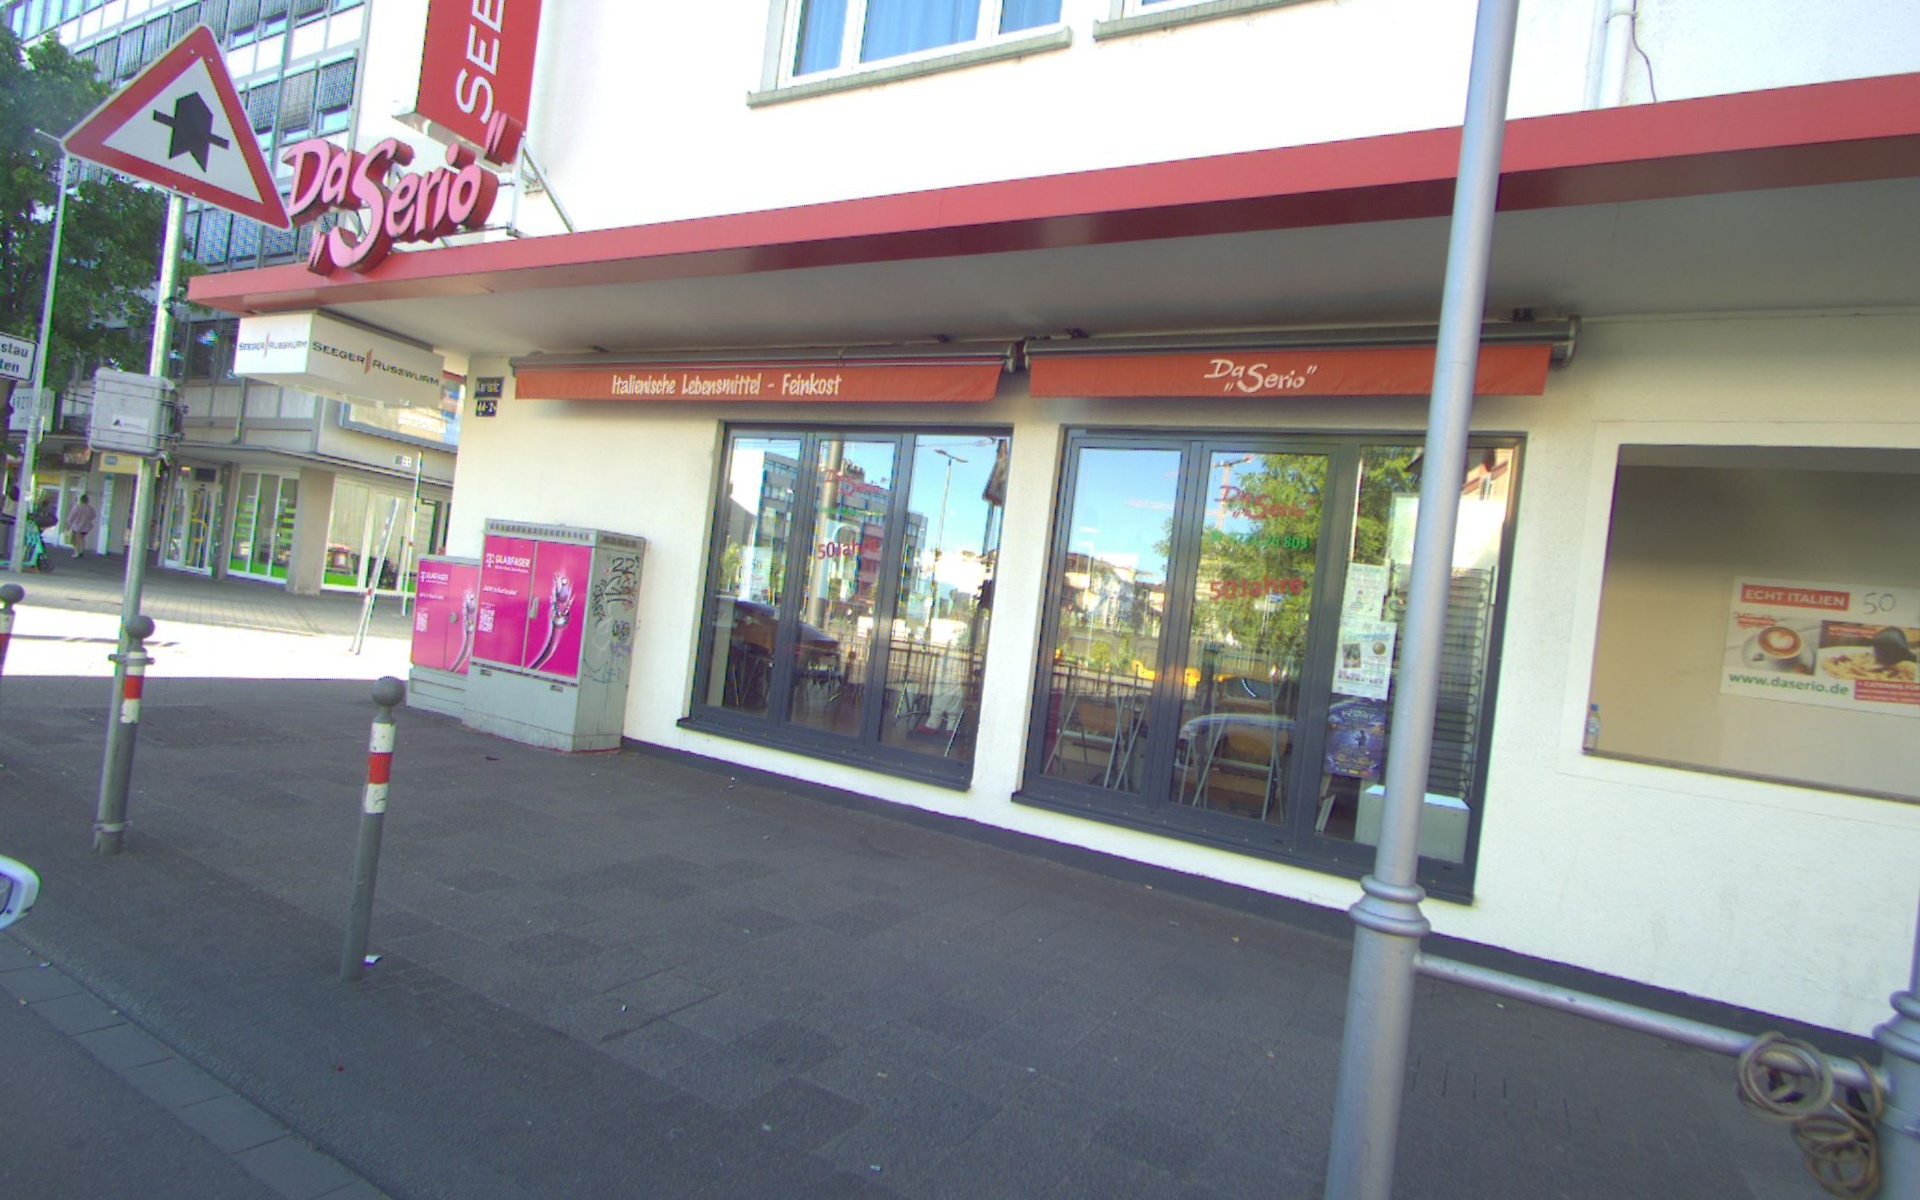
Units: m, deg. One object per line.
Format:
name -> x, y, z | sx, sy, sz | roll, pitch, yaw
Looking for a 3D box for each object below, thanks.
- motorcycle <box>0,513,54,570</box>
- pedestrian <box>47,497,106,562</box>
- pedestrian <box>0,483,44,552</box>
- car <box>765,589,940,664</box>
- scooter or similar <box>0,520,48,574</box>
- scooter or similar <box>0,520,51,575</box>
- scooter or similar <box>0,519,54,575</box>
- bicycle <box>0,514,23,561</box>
motorcycle -> -21.474, -1.368, 22.385 | 0.495, 1.142, 1.791 | 7, -2, 29
pedestrian -> -24.269, -1.924, 27.647 | 0.865, 1.621, 0.844 | 6, -1, 31
pedestrian -> -26.005, -2.277, 27.659 | 0.865, 1.727, 0.844 | 6, -1, 31
car -> -3.118, 0.813, 29.841 | 4.791, 1.450, 1.861 | 9, 1, -38
scooter or similar -> -20.003, -1.126, 21.281 | 0.157, 1.039, 0.964 | 7, -1, 34
scooter or similar -> -19.839, -1.119, 21.171 | 0.157, 1.051, 0.957 | 7, -1, 34
scooter or similar -> -19.677, -1.114, 21.061 | 0.157, 1.056, 0.964 | 7, -1, 34
bicycle -> -23.209, -1.551, 23.521 | 0.392, 1.069, 1.856 | 7, 0, 21
